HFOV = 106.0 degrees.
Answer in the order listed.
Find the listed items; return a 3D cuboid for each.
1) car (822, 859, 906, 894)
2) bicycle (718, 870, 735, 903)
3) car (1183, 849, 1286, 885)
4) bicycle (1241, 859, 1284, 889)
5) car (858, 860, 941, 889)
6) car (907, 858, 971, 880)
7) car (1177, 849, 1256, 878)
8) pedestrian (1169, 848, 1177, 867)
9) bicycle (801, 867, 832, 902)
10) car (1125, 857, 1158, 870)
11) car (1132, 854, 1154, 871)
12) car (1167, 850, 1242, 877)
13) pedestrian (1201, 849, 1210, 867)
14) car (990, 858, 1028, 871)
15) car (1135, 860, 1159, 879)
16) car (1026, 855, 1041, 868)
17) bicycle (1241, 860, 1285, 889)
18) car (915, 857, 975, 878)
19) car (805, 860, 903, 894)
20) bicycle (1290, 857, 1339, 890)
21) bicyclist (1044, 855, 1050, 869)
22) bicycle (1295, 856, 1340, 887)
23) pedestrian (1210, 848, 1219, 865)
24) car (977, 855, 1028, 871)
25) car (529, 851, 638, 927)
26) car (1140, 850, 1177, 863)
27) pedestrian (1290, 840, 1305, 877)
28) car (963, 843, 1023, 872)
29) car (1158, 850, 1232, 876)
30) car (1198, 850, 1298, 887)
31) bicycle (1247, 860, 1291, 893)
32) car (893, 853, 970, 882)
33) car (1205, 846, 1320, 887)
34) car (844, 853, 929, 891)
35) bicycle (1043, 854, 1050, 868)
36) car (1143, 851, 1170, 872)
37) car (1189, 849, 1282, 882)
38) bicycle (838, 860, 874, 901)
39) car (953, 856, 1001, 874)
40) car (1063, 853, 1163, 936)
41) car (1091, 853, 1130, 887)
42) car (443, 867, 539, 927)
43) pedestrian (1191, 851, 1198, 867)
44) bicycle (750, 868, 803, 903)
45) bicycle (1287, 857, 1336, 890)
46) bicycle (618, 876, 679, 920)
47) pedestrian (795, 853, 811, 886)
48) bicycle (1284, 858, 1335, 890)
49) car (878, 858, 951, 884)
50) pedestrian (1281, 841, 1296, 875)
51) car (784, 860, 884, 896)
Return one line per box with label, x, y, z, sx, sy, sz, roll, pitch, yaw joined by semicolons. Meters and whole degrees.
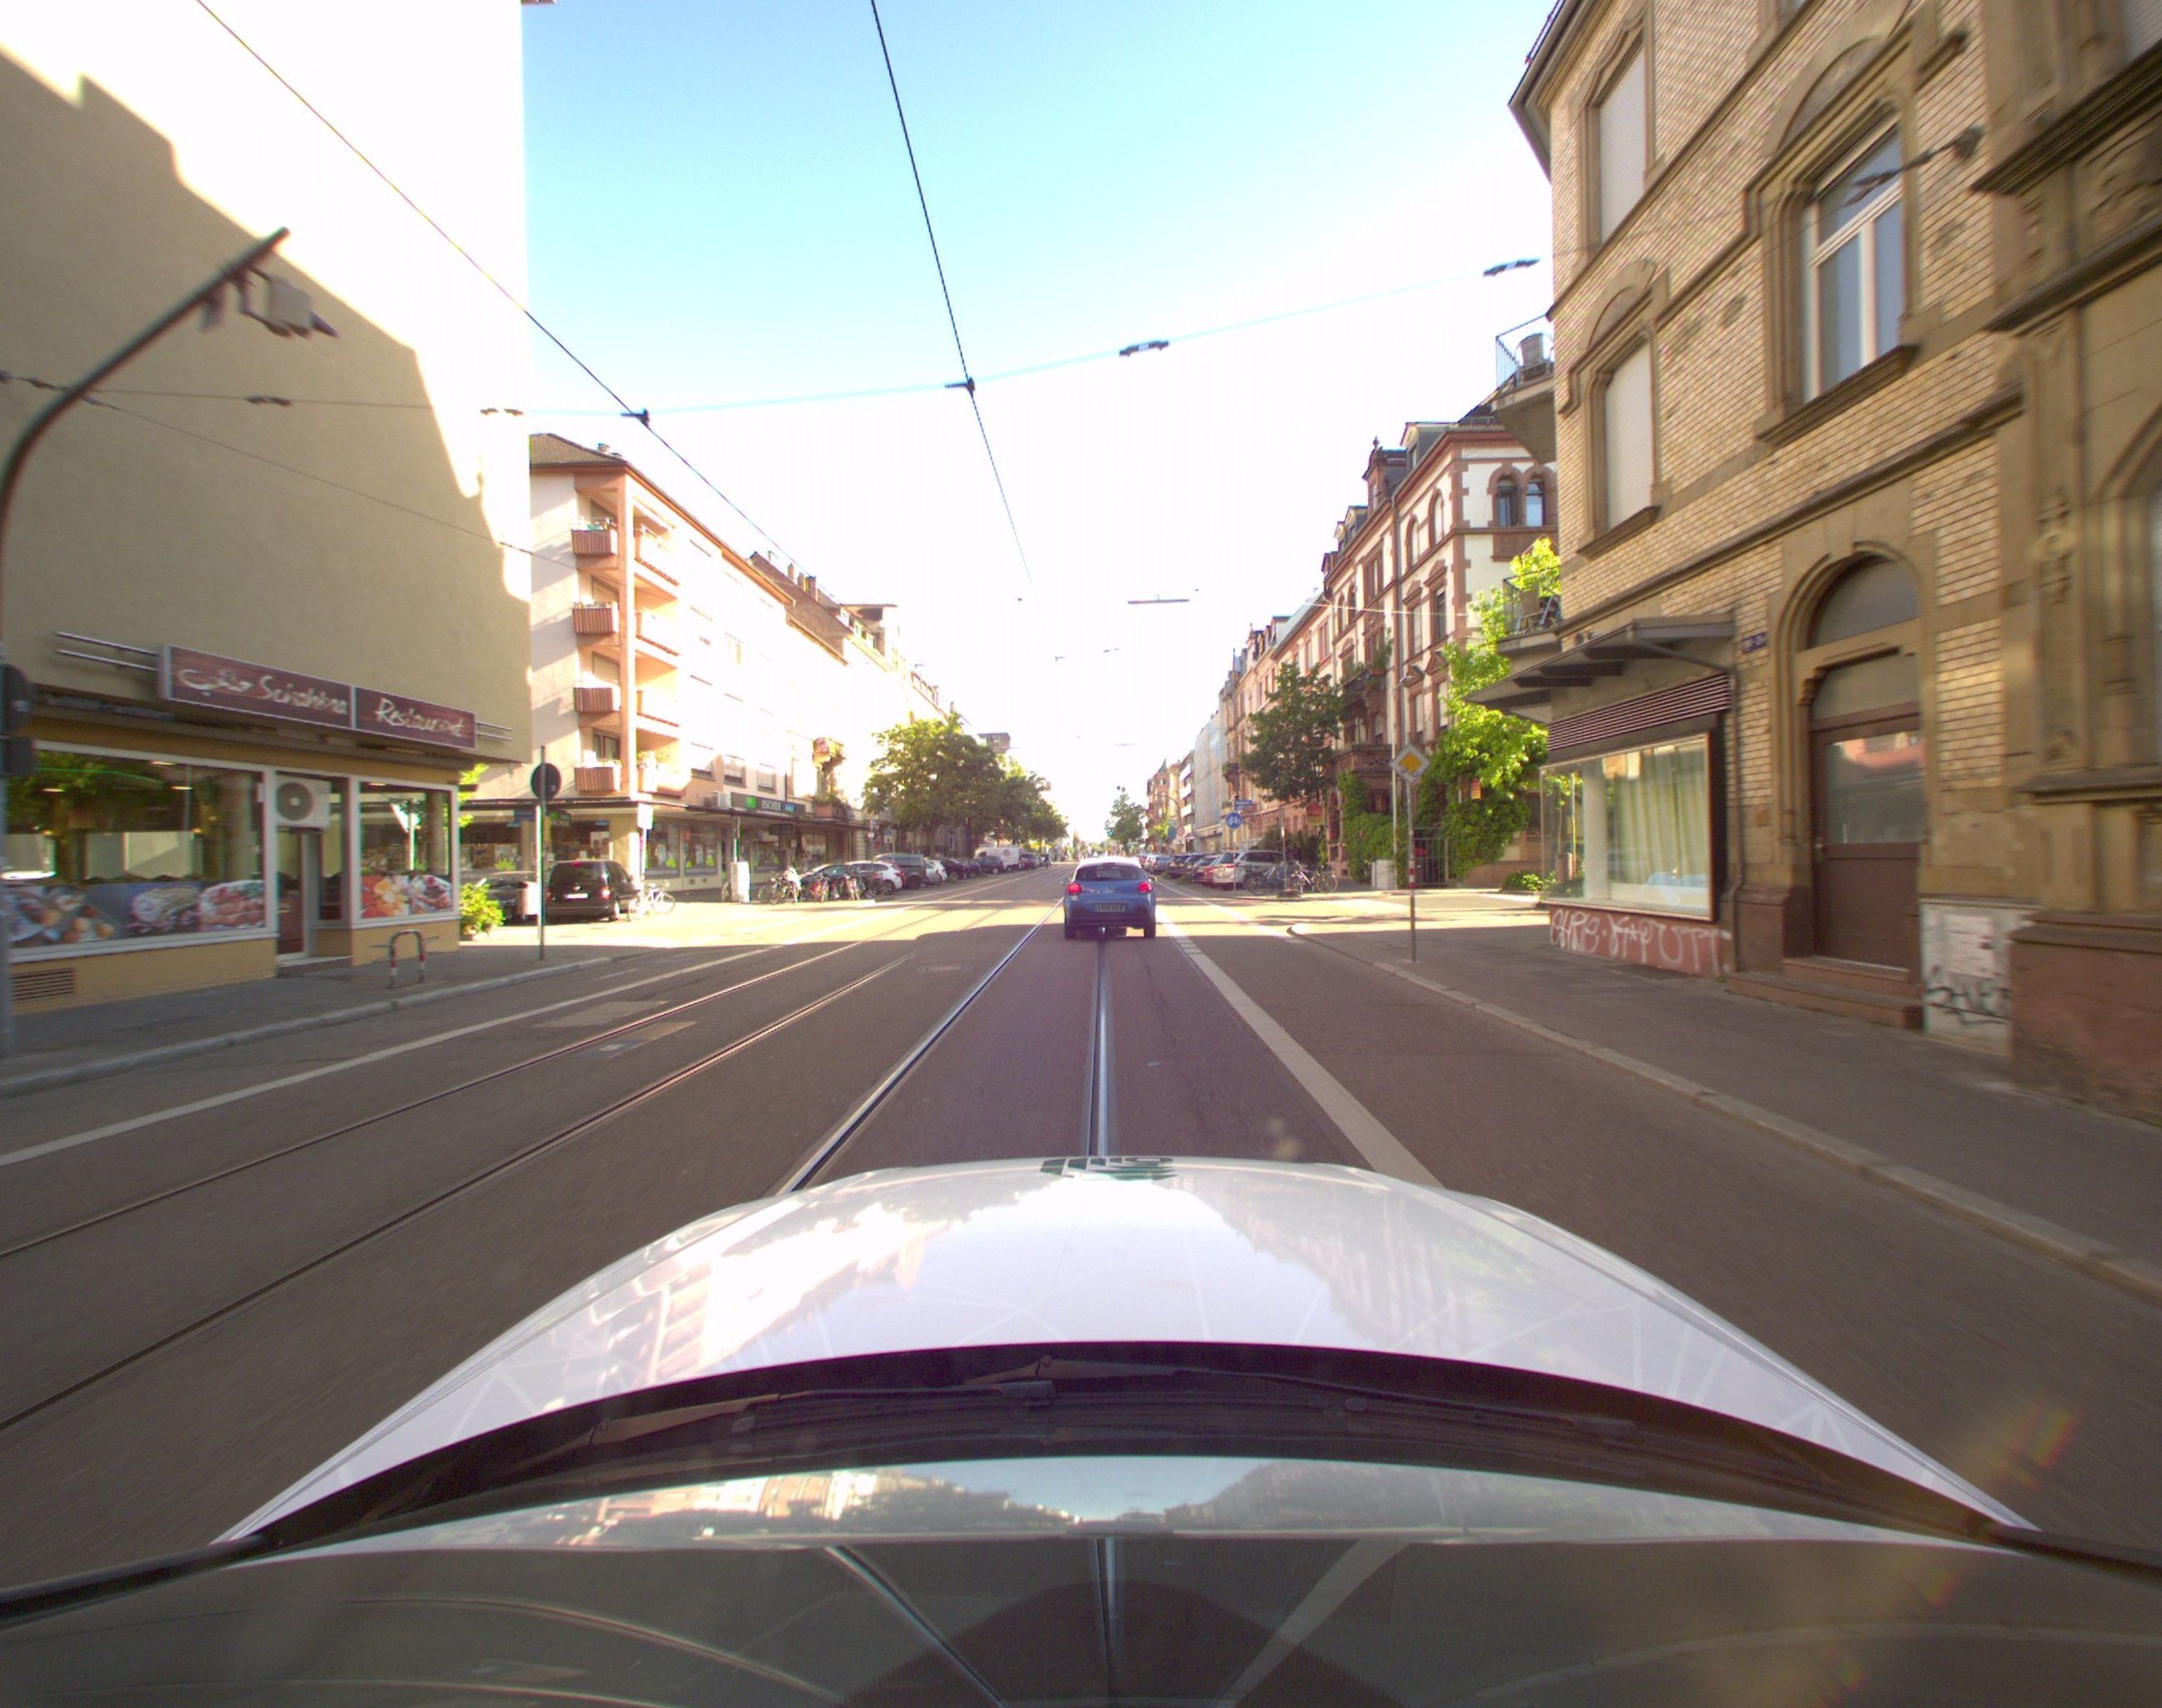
car;-10.099;0.998;37.949;3.479;1.473;1.634;-1;0;-28
bicycle;-12.706;1.144;29.238;0.404;1.109;1.825;-1;-1;-19
car;7.331;0.597;38.838;4.453;1.596;2.072;0;-1;-23
bicycle;6.724;0.738;30.223;1.551;1.127;0.295;-1;-1;7
car;-9.733;1.061;43.726;4.032;1.449;1.682;0;-1;-31
car;-9.949;1.024;57.128;4.013;1.489;1.788;0;-1;-31
car;7.741;0.549;46.543;4.004;1.596;1.944;0;-1;-23
pedestrian;8.179;0.320;72.489;0.709;1.607;0.654;0;-1;1
bicycle;-9.515;1.088;29.291;0.685;1.123;1.870;-1;2;-29
car;7.033;1.113;94.975;3.463;1.555;1.807;0;-1;-30
car;5.771;0.778;75.589;1.866;1.596;4.002;0;0;2
car;7.466;0.570;49.373;4.004;1.596;2.071;0;-1;-23
pedestrian;11.832;0.366;77.378;0.709;1.607;0.654;-4;-1;1
car;-7.693;1.114;87.243;3.815;1.265;1.504;0;-1;-24
car;5.645;1.344;70.385;1.866;1.596;4.002;0;0;2
car;-6.239;0.943;107.163;1.742;1.618;4.408;0;0;-1
bicycle;6.681;0.749;29.902;1.547;1.079;0.308;-1;-1;7
car;-10.010;0.946;60.058;4.008;1.489;1.790;0;-1;-27
car;-9.815;0.958;35.266;3.804;1.400;1.737;0;-1;-31
bicycle;7.951;0.667;27.761;1.547;1.127;0.553;-1;-1;8
bicyclist;-4.104;1.012;98.031;0.632;1.681;0.727;0;-1;2
bicycle;8.767;0.631;30.200;1.547;1.127;0.553;-1;-1;8
pedestrian;12.695;0.269;77.455;0.709;1.607;0.654;0;-1;1
car;-7.842;0.885;81.391;4.786;1.618;1.695;0;-1;-31
car;-15.010;0.957;24.833;1.849;1.817;4.330;-4;4;-19
car;8.769;0.293;92.169;3.743;1.521;1.949;0;-1;-31
pedestrian;10.706;0.214;40.273;0.516;1.778;0.864;0;-1;2
car;-8.303;0.316;77.303;5.402;2.749;1.789;0;-1;-29
car;7.279;0.552;52.187;4.321;1.596;1.967;0;-1;-23
car;7.418;0.608;36.139;4.004;1.536;1.904;0;-1;-23
bicycle;6.491;0.769;28.118;1.398;1.127;0.549;0;-1;-12
car;-9.469;0.841;51.602;4.381;1.783;1.976;0;-1;-31
car;7.486;0.507;33.566;4.370;1.596;1.839;0;-1;-23
car;-9.766;0.869;40.926;3.831;1.785;1.781;0;-1;-27
bicycle;-4.111;0.885;97.922;0.678;1.678;2.097;0;-1;2
car;5.953;0.585;64.284;1.866;1.596;4.721;0;0;2
car;7.945;0.575;41.970;4.337;1.596;2.029;0;-1;-23
bicycle;-8.187;0.932;29.743;0.680;1.319;2.434;-1;2;-2
car;-9.148;0.955;71.612;3.994;1.489;1.797;0;-1;-15
car;0.612;0.729;16.173;1.756;1.441;3.558;0;0;1
car;1.515;0.786;41.292;1.866;1.596;4.002;0;0;2
car;-17.669;1.225;24.576;1.854;1.392;3.964;-1;3;-29
pedestrian;12.681;0.585;91.169;0.690;1.756;0.678;0;-1;1
bicycle;-10.767;1.080;28.727;2.405;1.109;0.688;1;2;42
bicycle;8.007;0.667;28.330;1.547;1.127;0.529;-1;-1;8
bicycle;-12.854;1.275;24.276;0.680;1.109;2.432;-1;2;-5
pedestrian;-14.307;0.788;41.950;0.567;1.652;0.641;0;-1;2
bicycle;8.090;0.704;28.907;1.665;1.127;0.553;-1;-1;8
car;-9.662;0.957;47.204;3.850;1.430;1.752;0;-1;-24
pedestrian;10.157;0.208;39.896;0.516;1.648;0.864;0;-1;2
car;-9.791;0.931;32.309;3.483;1.337;1.608;0;-1;-33
